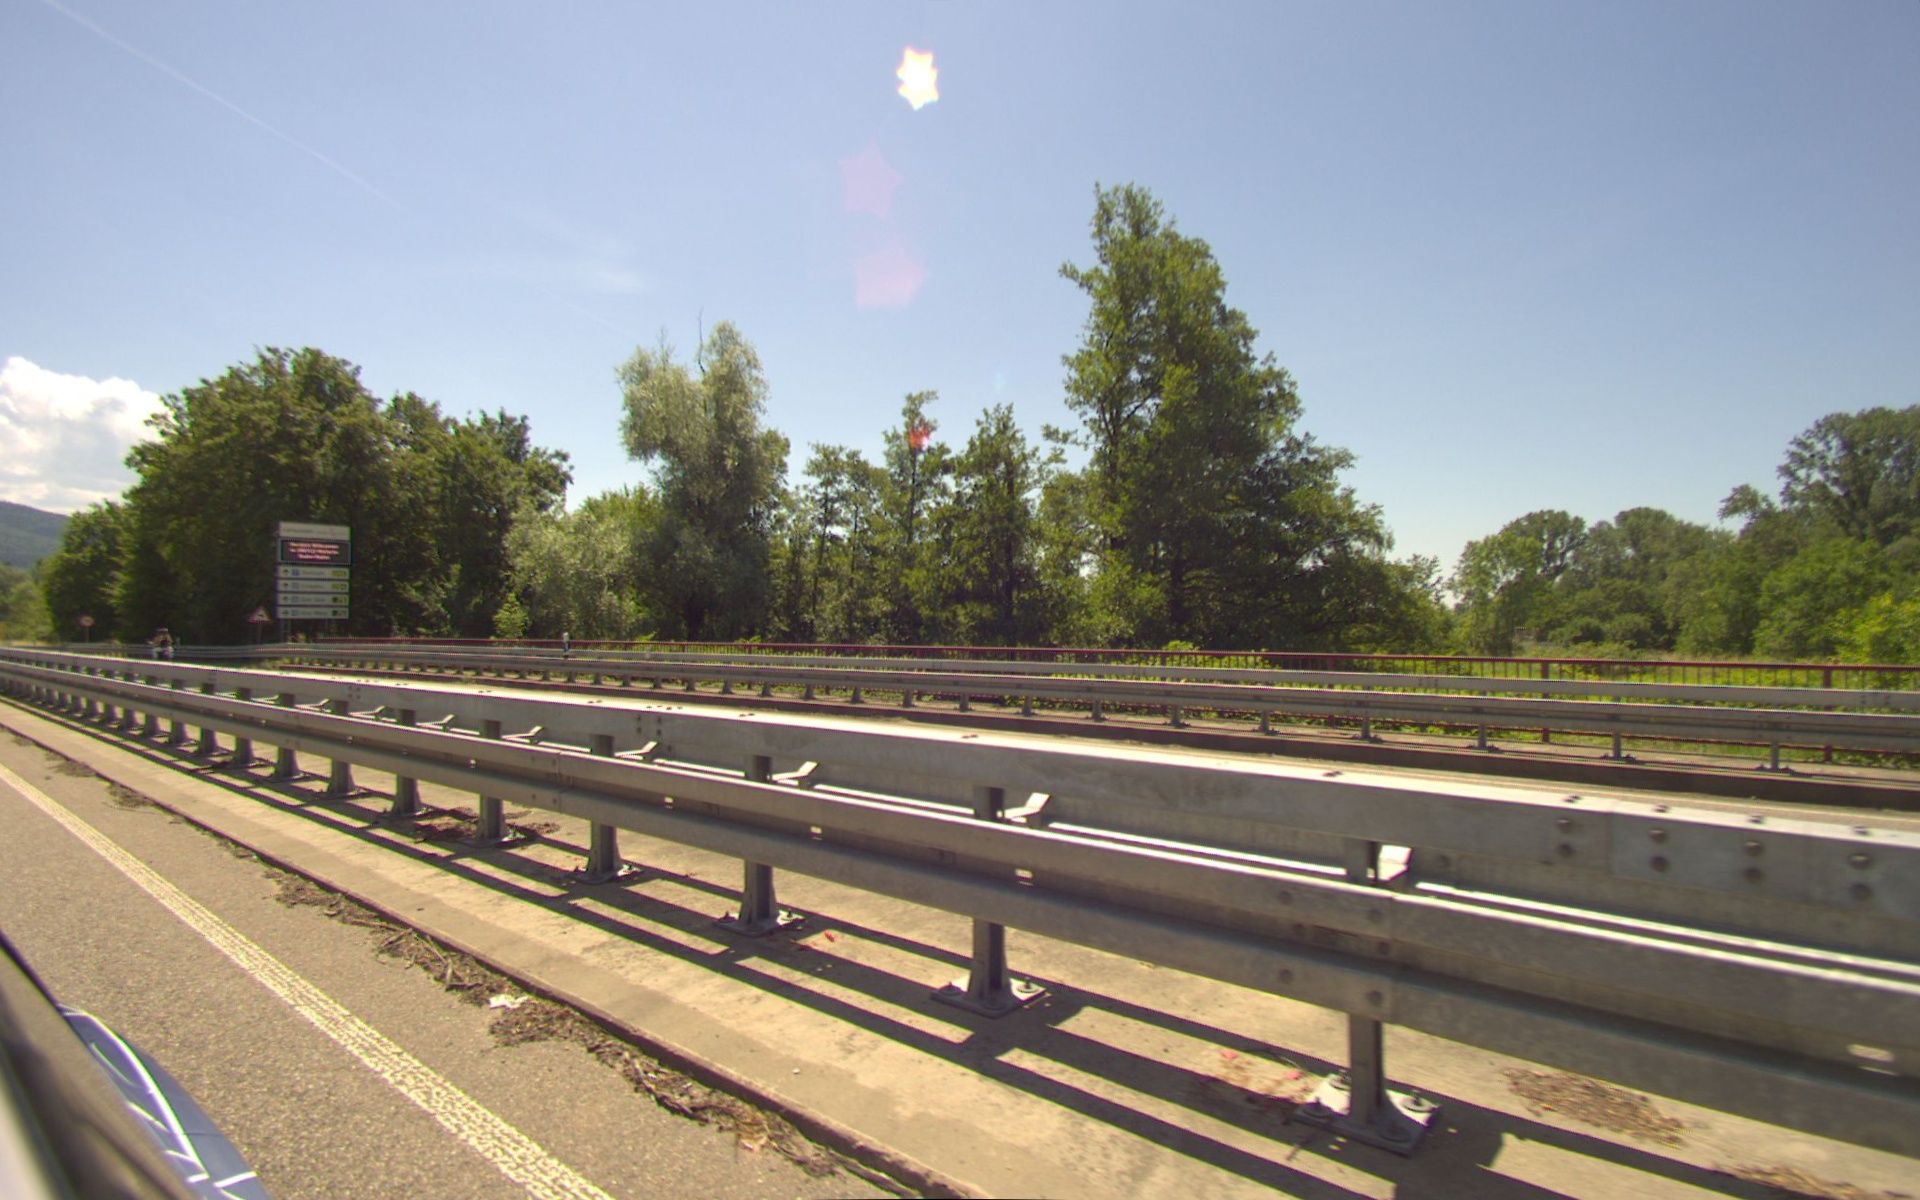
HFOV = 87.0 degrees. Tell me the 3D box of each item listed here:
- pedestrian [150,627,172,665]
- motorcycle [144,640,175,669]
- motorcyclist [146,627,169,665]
[{"bbox_3d":[-32.696,1.876,41.426,0.494,1.552,0.608,-2,-2,41],"label":"pedestrian"},{"bbox_3d":[-32.925,2.220,41.608,2.312,1.112,0.608,-1,-2,41],"label":"motorcycle"},{"bbox_3d":[-33.189,1.887,41.861,0.776,1.552,0.608,-2,-2,41],"label":"motorcyclist"}]
